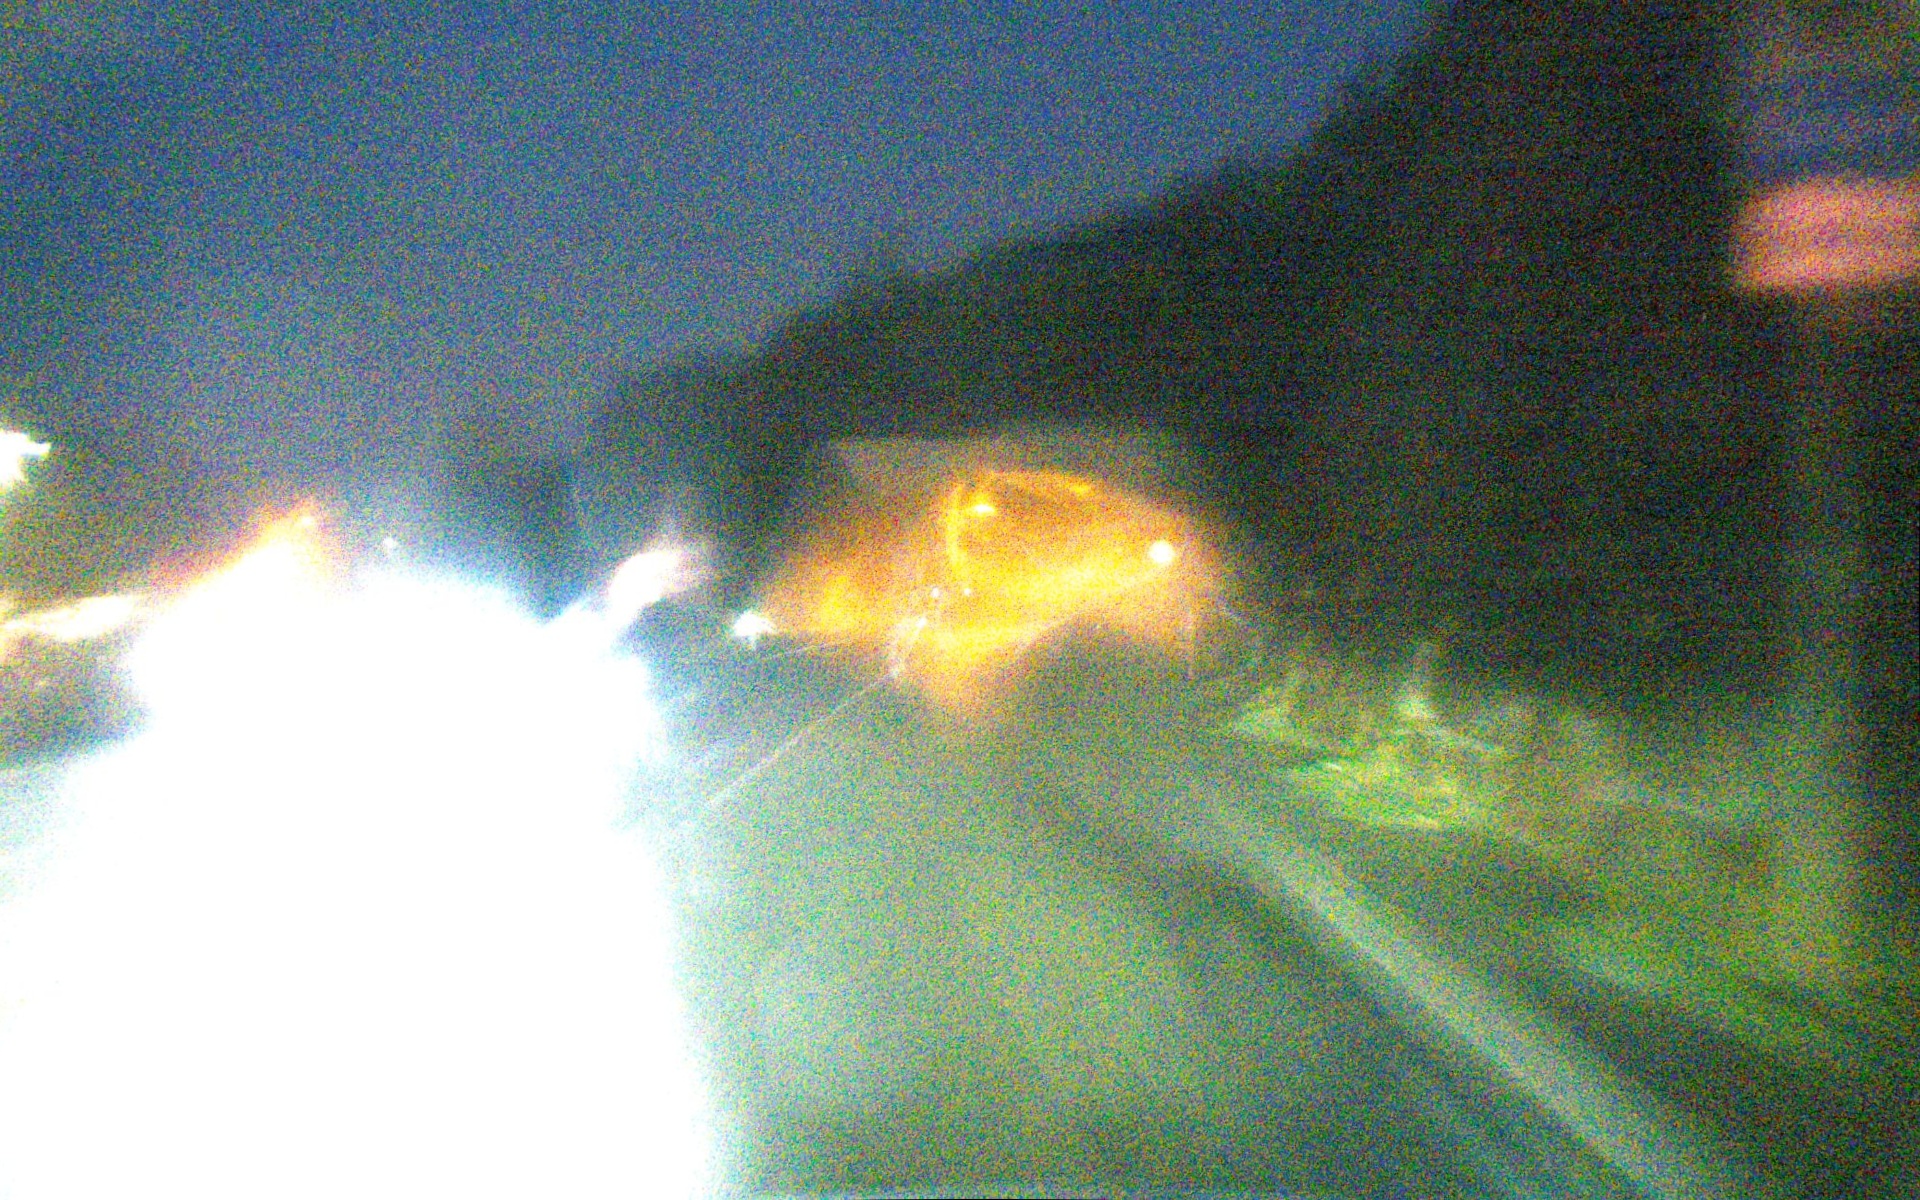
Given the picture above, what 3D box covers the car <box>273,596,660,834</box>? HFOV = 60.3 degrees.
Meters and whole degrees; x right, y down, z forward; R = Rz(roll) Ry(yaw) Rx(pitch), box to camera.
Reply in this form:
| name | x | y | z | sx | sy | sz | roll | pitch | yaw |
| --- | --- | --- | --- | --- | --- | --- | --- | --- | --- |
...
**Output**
| name | x | y | z | sx | sy | sz | roll | pitch | yaw |
| --- | --- | --- | --- | --- | --- | --- | --- | --- | --- |
| car | -3.352 | 0.714 | 12.090 | 1.558 | 1.404 | 4.324 | 1 | -1 | -1 |
